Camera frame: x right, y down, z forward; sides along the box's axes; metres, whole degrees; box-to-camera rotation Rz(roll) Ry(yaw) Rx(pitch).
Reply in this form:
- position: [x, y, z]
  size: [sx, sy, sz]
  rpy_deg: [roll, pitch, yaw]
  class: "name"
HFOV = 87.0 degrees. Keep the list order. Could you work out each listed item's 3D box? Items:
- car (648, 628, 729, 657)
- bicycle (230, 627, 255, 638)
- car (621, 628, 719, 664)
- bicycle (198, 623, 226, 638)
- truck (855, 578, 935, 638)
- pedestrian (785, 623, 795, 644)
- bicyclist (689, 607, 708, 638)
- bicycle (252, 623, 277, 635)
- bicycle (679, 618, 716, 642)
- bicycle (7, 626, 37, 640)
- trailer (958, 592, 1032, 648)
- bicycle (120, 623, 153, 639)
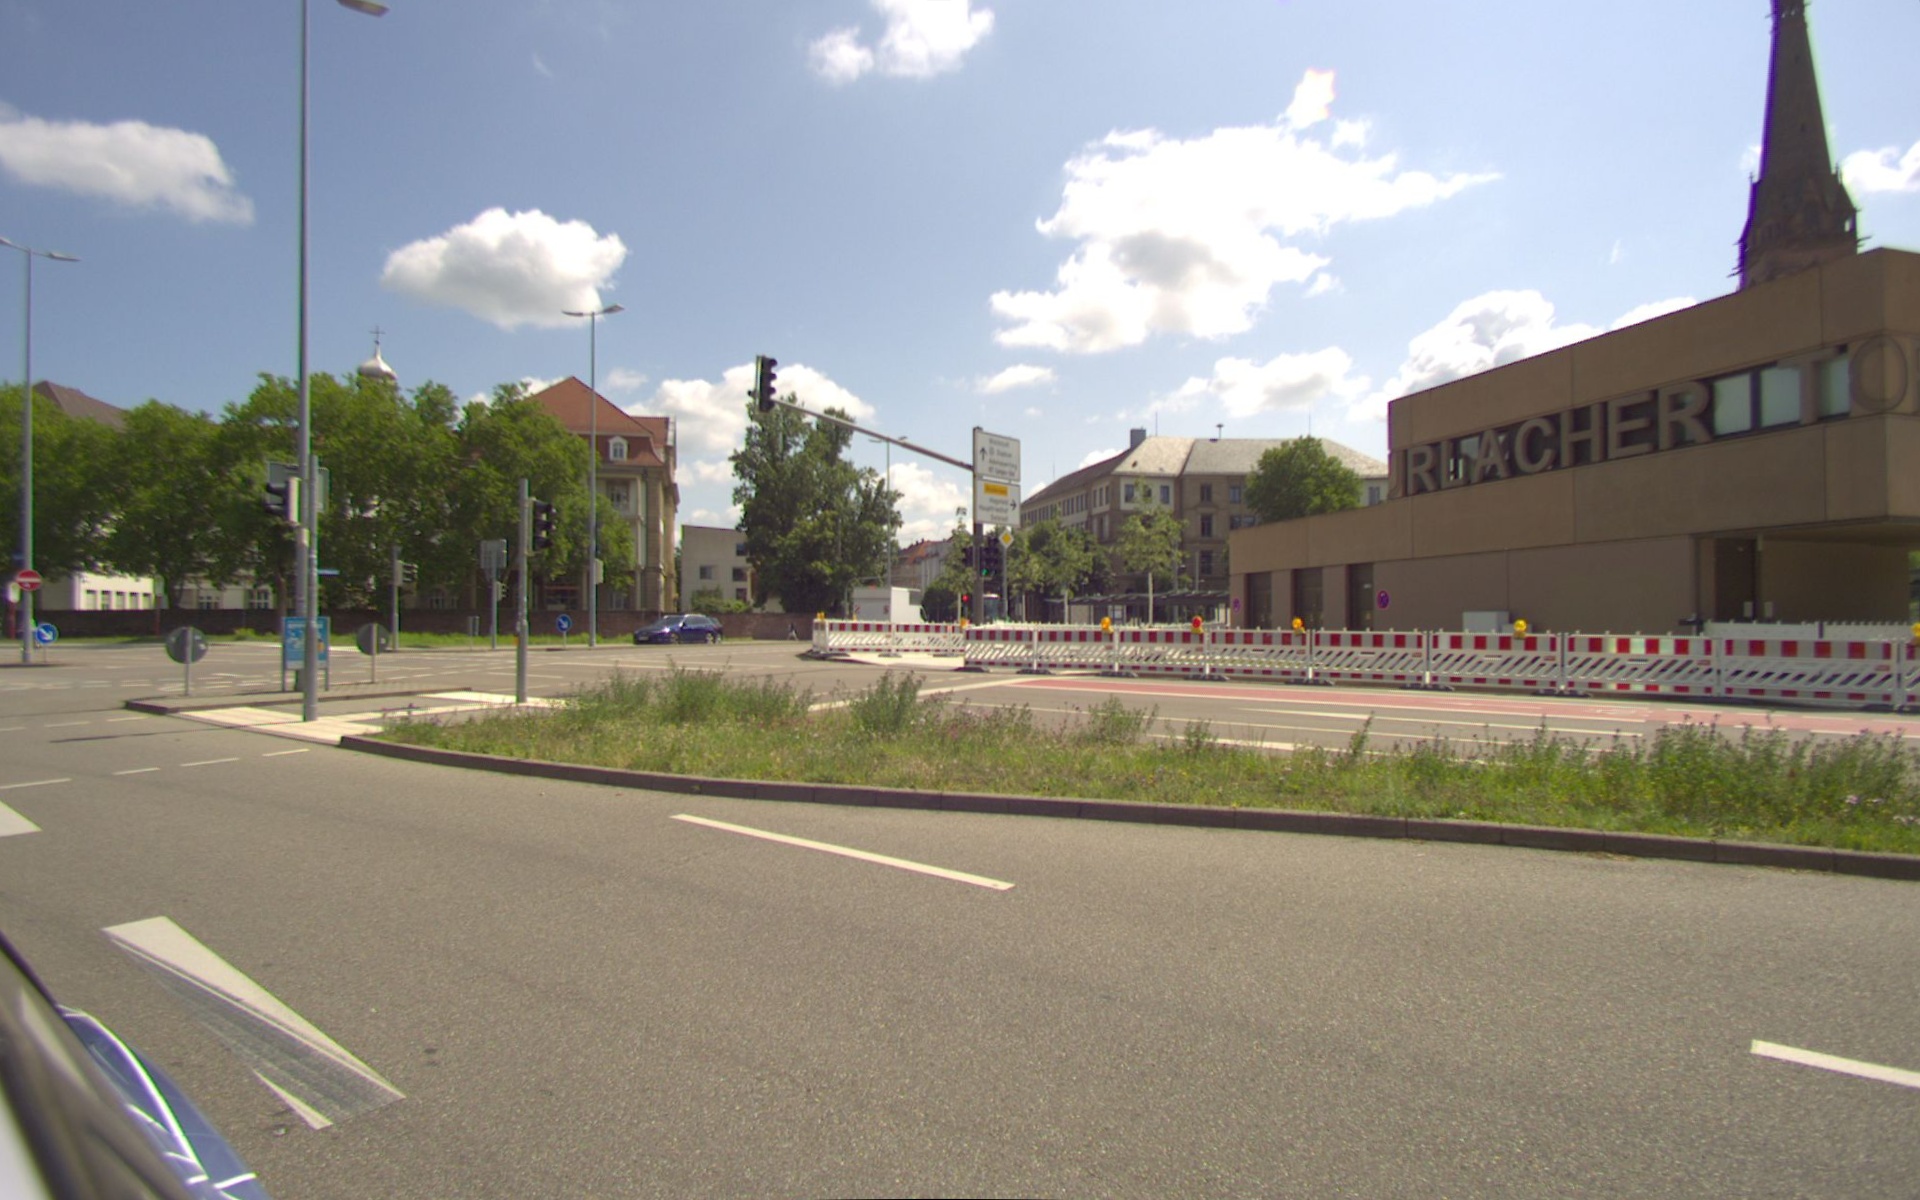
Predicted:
- position: [-14.786, 2.303, 55.395]
  size: [1.987, 1.497, 4.477]
  rpy_deg: [-1, -2, 22]
  class: "car"
- position: [-51.668, 2.335, 72.881]
  size: [1.444, 0.795, 0.398]
  rpy_deg: [0, -2, -3]
  class: "bicycle"
- position: [-12.866, 2.020, 45.278]
  size: [1.984, 1.497, 4.640]
  rpy_deg: [-1, -2, 18]
  class: "car"
- position: [-53.784, 2.169, 72.732]
  size: [1.662, 1.038, 0.398]
  rpy_deg: [0, -2, -3]
  class: "bicycle"
- position: [-3.456, 0.392, 55.686]
  size: [1.983, 3.090, 7.289]
  rpy_deg: [0, 0, 17]
  class: "truck"
- position: [-13.755, 2.709, 81.904]
  size: [0.668, 1.708, 0.490]
  rpy_deg: [0, 0, -16]
  class: "pedestrian"
- position: [-13.243, 1.147, 51.238]
  size: [0.664, 1.545, 0.641]
  rpy_deg: [0, 0, 25]
  class: "bicyclist"
- position: [-50.156, 2.092, 72.964]
  size: [1.521, 0.795, 0.398]
  rpy_deg: [0, -2, -3]
  class: "bicycle"
- position: [-13.259, 1.497, 51.218]
  size: [0.664, 1.155, 2.051]
  rpy_deg: [0, 0, 25]
  class: "bicycle"
- position: [-67.435, 2.375, 72.761]
  size: [1.932, 1.051, 0.397]
  rpy_deg: [0, -2, 4]
  class: "bicycle"
- position: [1.854, 1.042, 55.114]
  size: [1.966, 2.935, 4.379]
  rpy_deg: [0, 0, -31]
  class: "trailer"
- position: [-59.089, 2.194, 72.611]
  size: [2.010, 1.146, 0.398]
  rpy_deg: [0, -2, -1]
  class: "bicycle"
